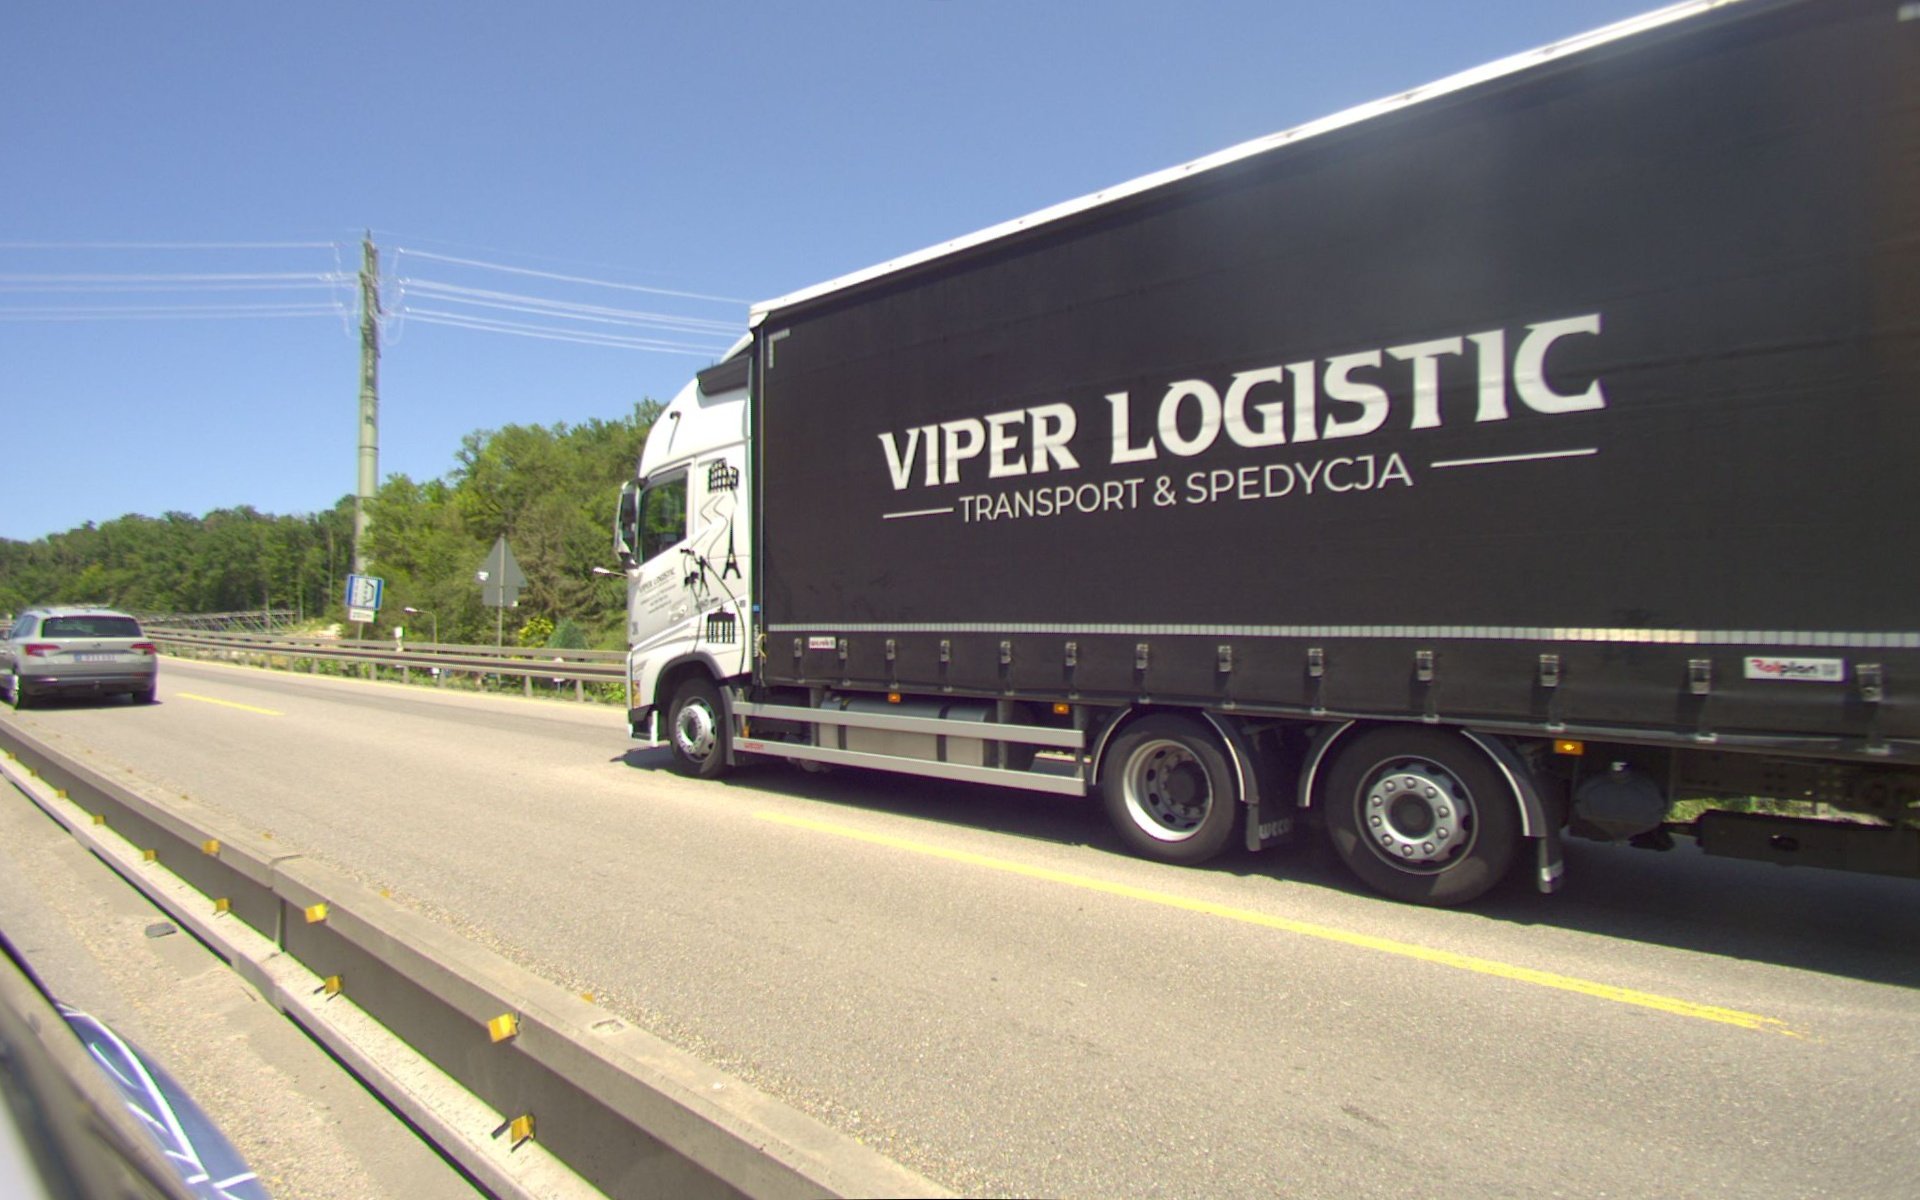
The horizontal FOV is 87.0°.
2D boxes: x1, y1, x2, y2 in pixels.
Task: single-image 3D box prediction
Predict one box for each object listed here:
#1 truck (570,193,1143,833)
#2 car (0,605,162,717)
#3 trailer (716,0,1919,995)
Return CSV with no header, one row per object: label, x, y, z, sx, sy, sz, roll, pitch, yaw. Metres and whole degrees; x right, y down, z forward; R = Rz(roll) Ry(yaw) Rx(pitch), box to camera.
truck,-1.165,-0.560,9.508,4.956,4.316,2.722,-1,-1,42
car,-15.172,0.925,17.162,4.066,1.623,1.840,0,0,41
trailer,1.906,-0.548,6.804,8.003,4.101,2.728,-2,-1,41
